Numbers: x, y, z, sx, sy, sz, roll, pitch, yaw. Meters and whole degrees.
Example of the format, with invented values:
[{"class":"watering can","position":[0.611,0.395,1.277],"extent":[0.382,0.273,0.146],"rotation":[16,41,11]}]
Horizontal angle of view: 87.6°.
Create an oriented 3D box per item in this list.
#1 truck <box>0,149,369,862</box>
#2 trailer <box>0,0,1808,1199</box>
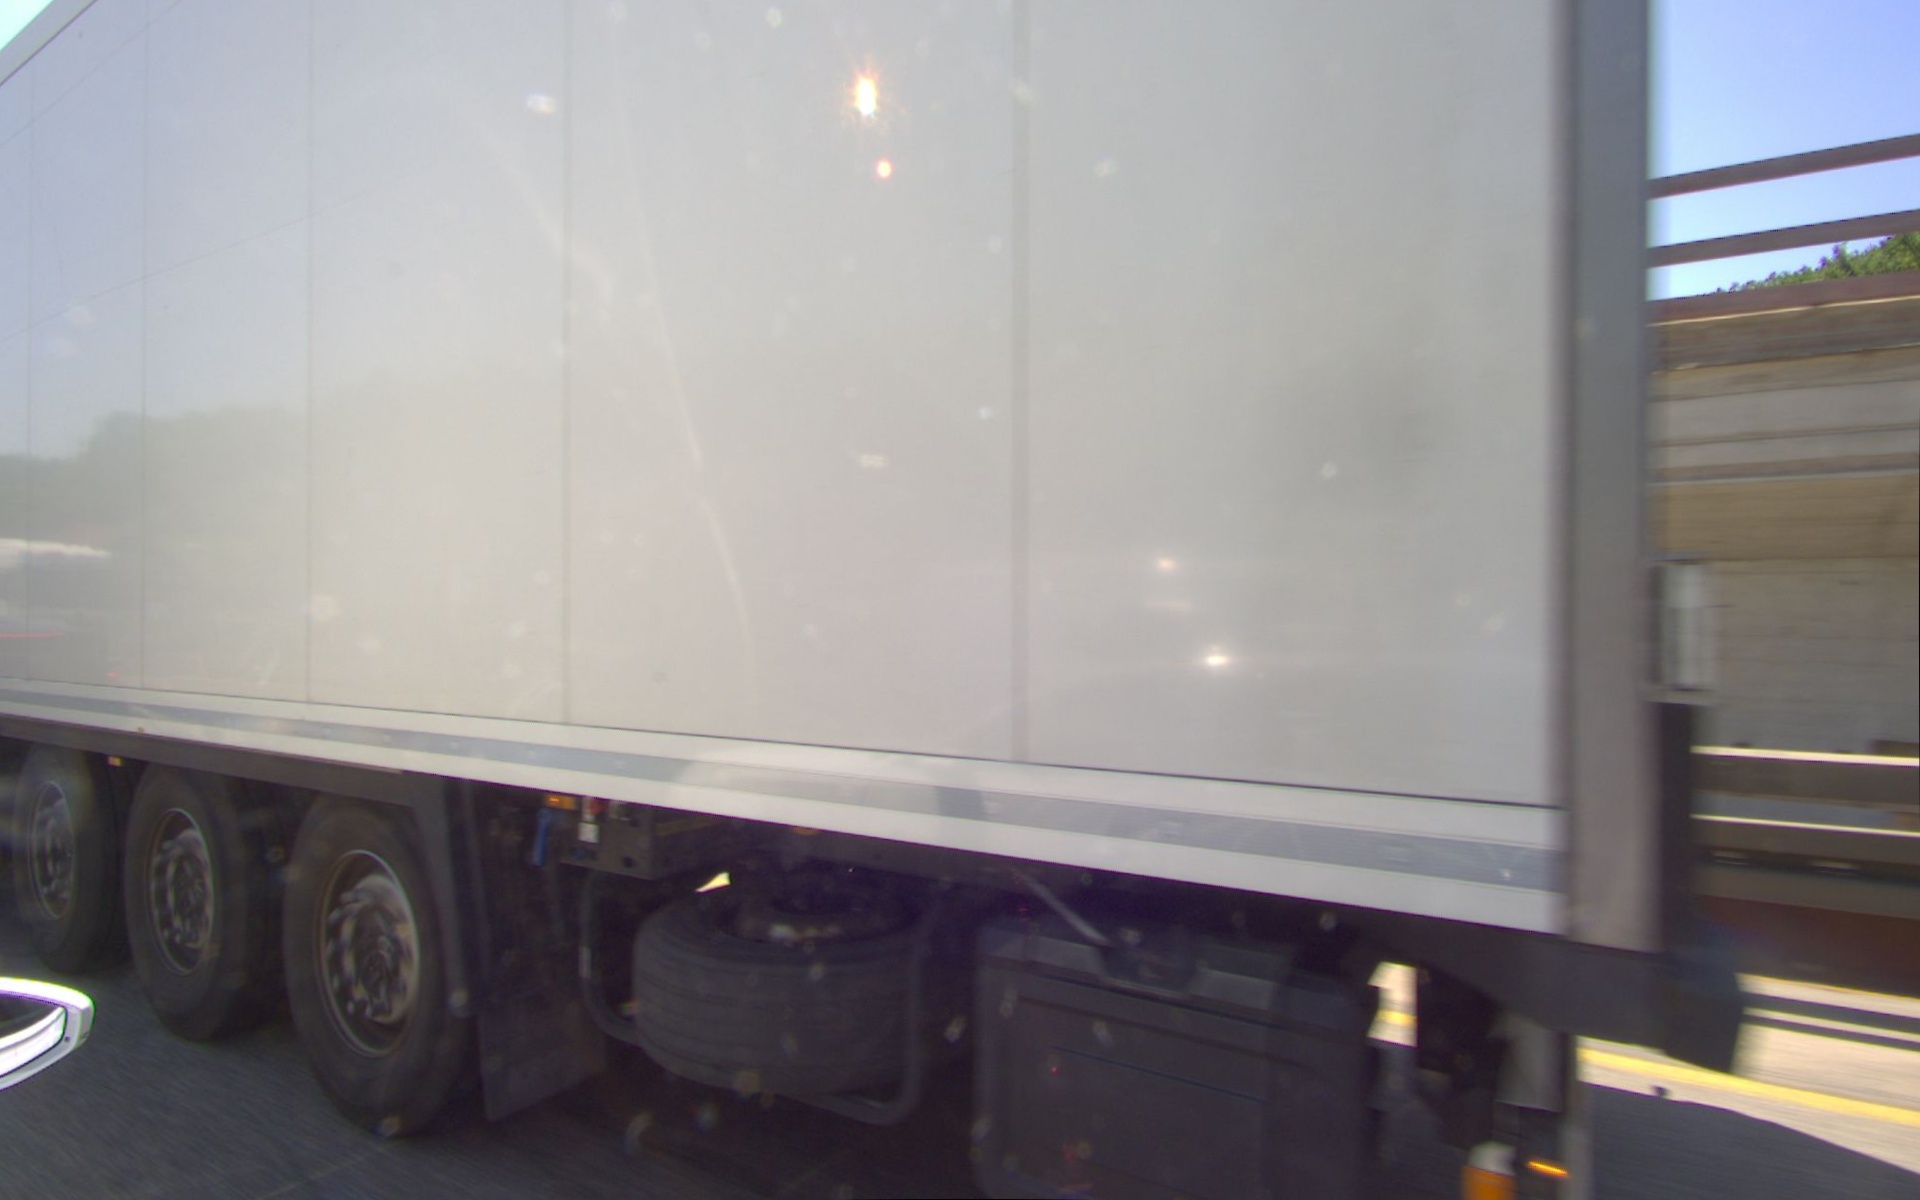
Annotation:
[{"class":"truck","position":[-8.493,-0.433,8.585],"extent":[8.121,4.076,2.509],"rotation":[-1,-2,33]},{"class":"trailer","position":[-3.244,-0.694,5.220],"extent":[11.385,4.179,2.527],"rotation":[-1,-2,33]}]
